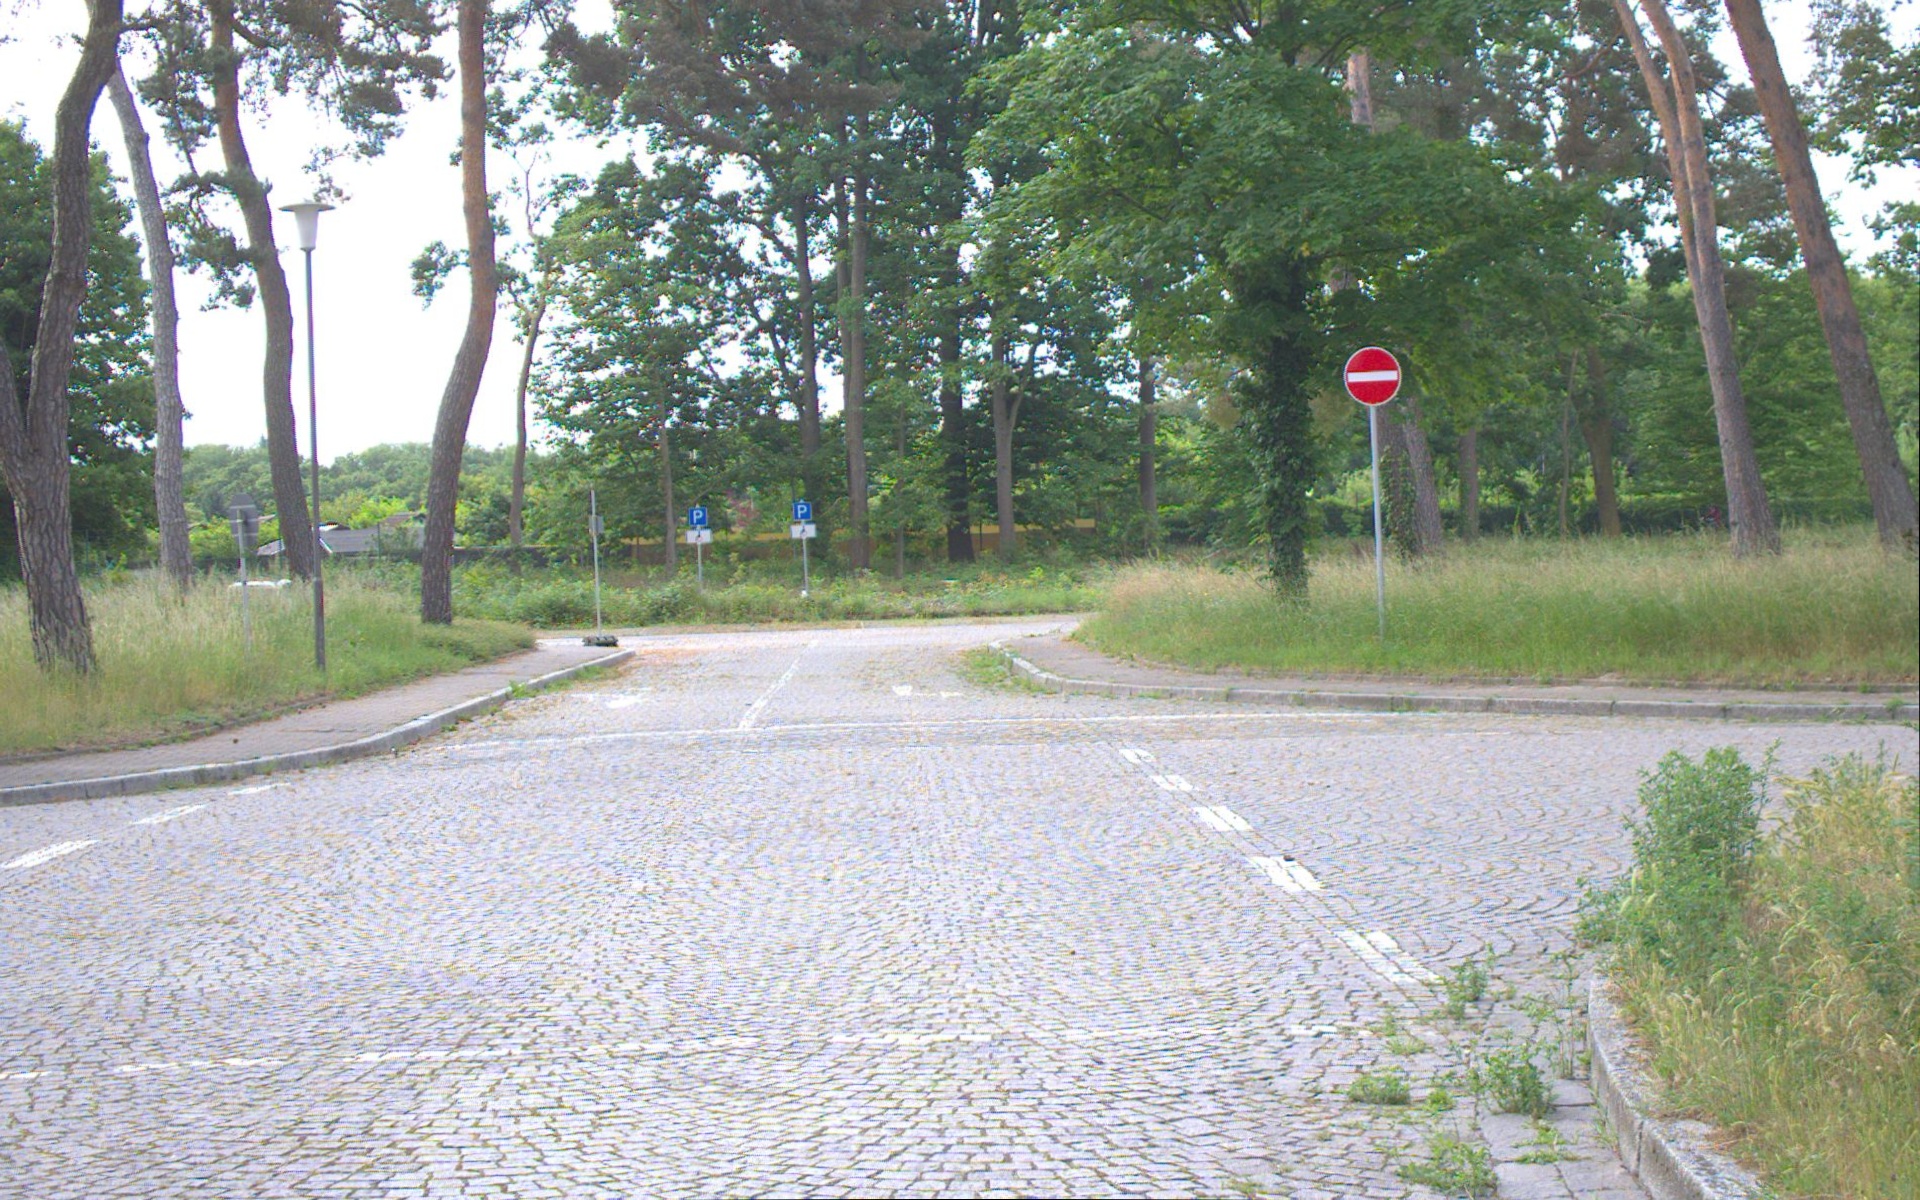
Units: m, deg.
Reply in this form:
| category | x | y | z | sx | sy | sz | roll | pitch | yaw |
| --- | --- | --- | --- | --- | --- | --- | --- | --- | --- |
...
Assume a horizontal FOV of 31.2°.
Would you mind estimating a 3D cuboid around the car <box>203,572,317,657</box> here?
| category | x | y | z | sx | sy | sz | roll | pitch | yaw |
| --- | --- | --- | --- | --- | --- | --- | --- | --- | --- |
| car | -15.749 | 0.300 | 77.511 | 1.993 | 1.840 | 4.001 | 0 | 1 | -4 |
